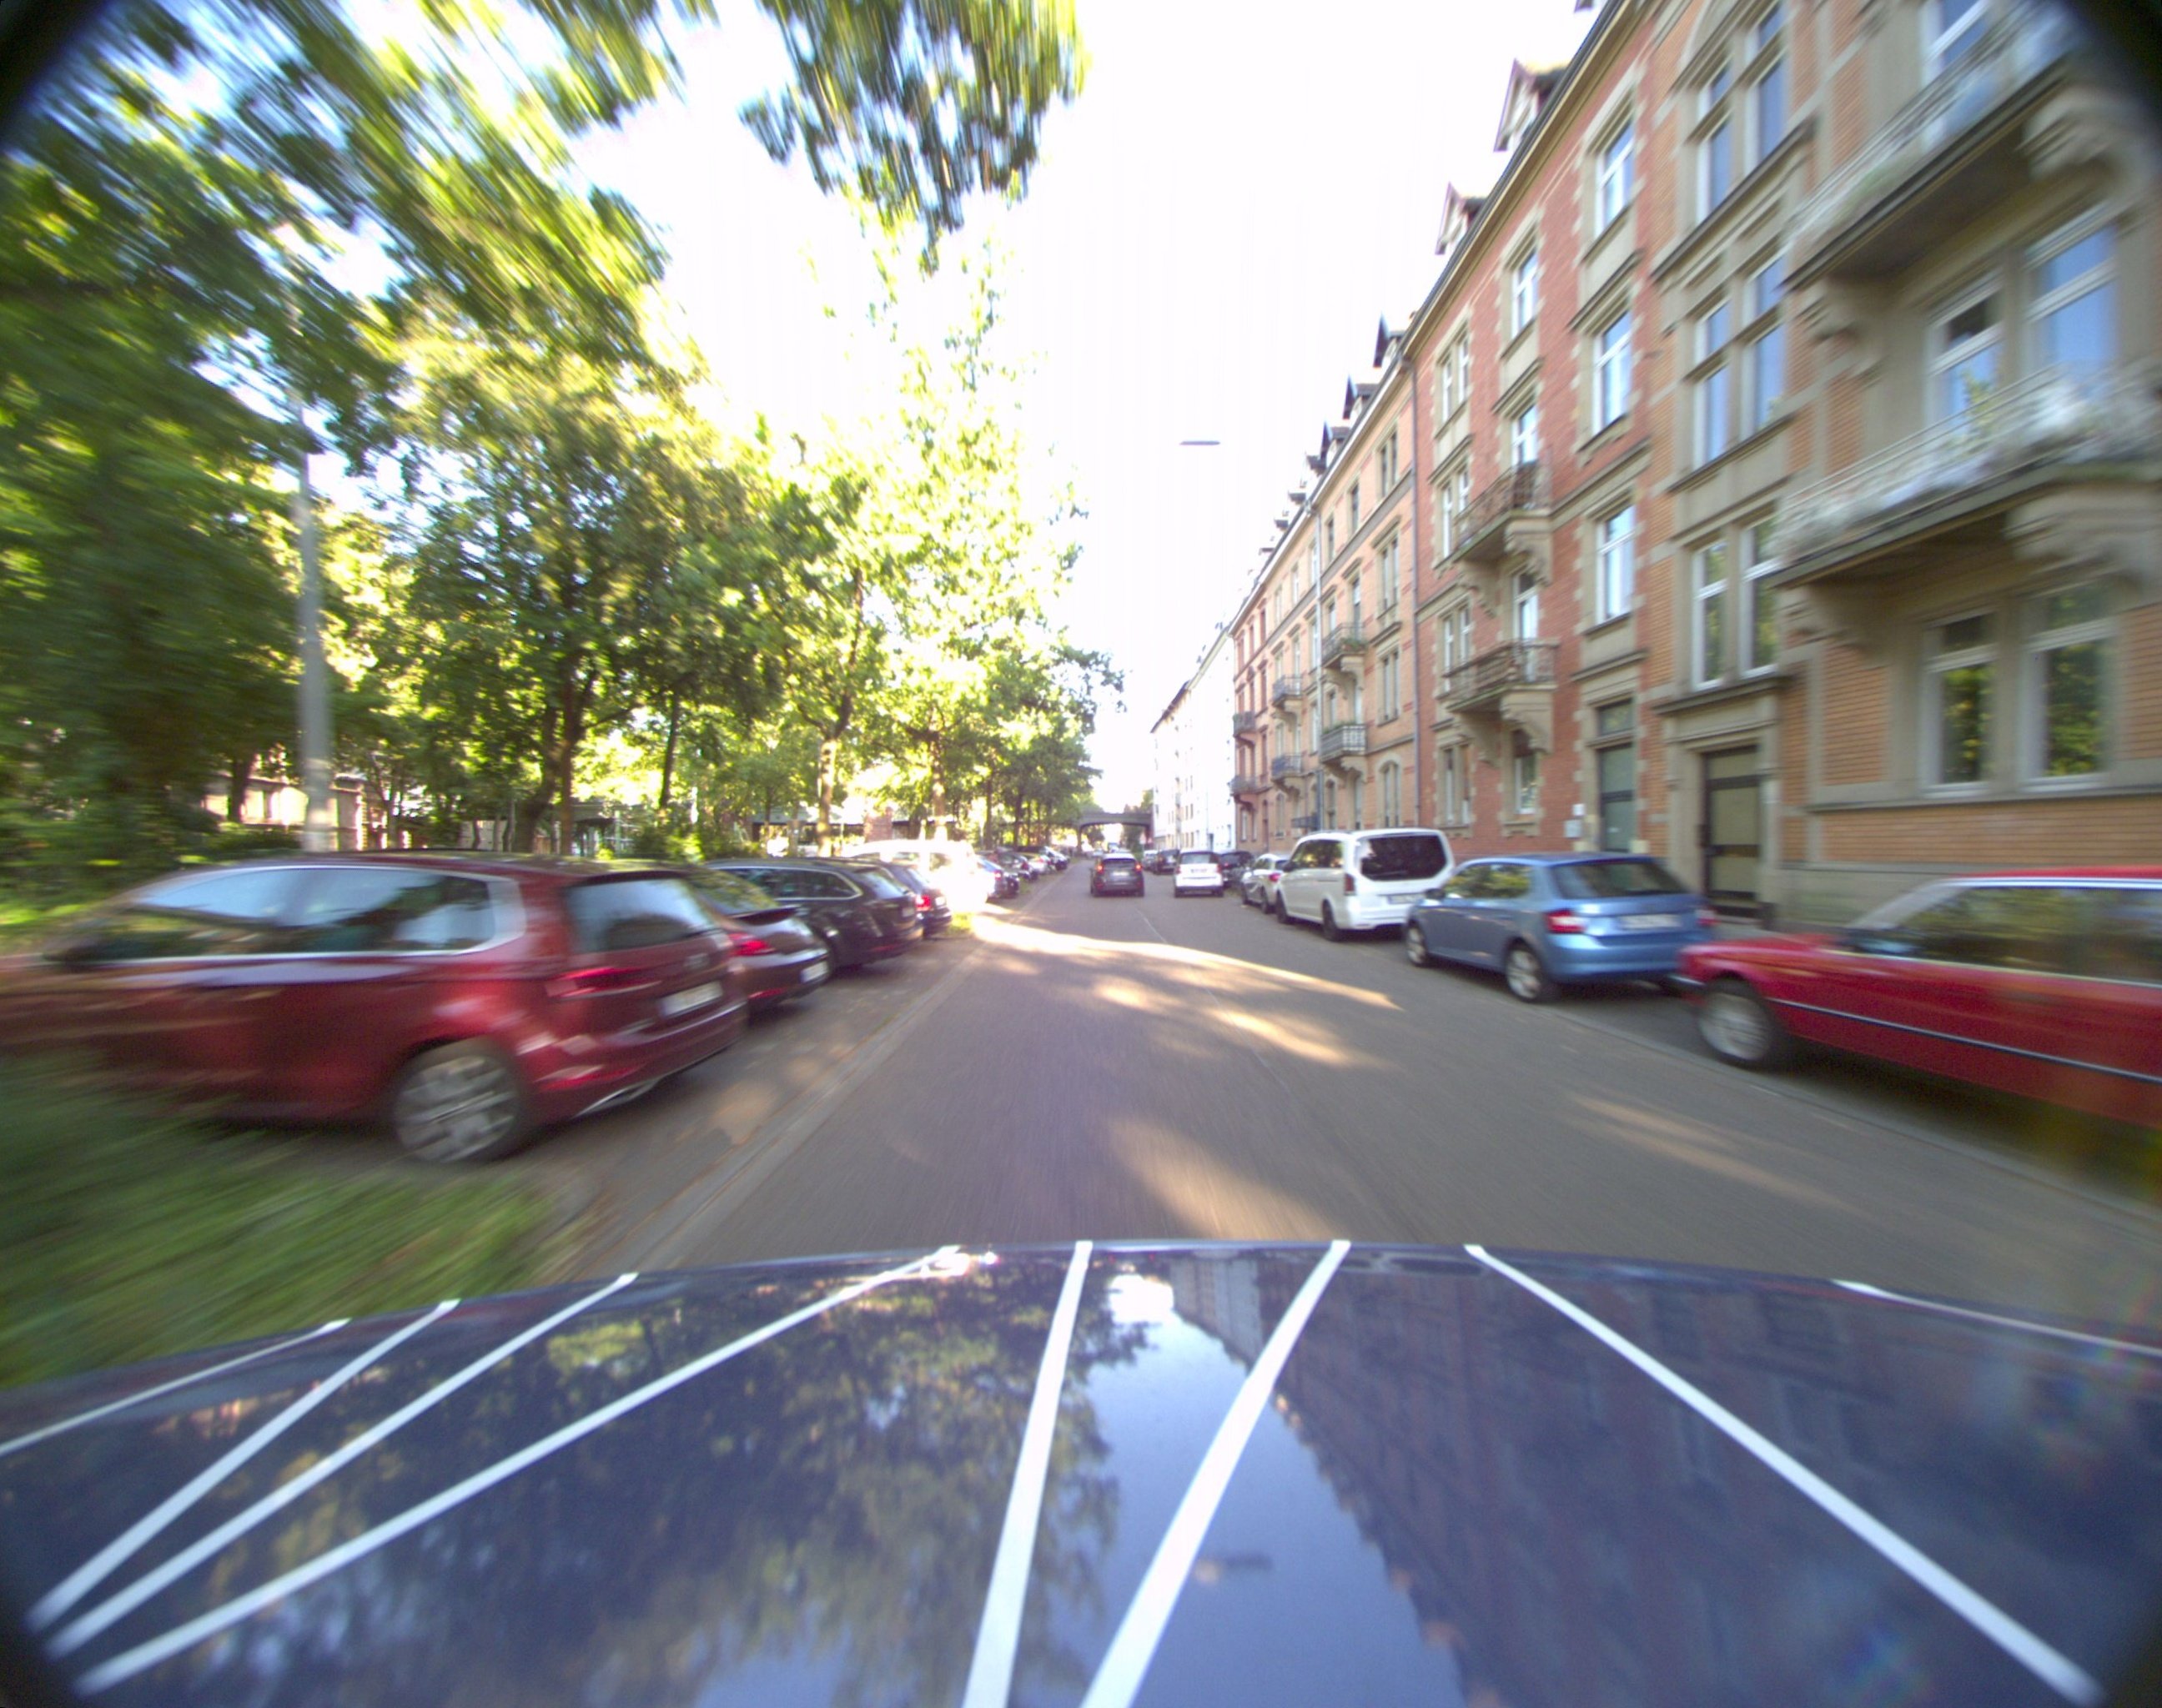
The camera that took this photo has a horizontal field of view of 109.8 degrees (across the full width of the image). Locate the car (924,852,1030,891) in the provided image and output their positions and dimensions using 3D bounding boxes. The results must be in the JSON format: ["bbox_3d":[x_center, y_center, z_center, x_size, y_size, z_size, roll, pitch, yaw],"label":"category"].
[{"bbox_3d":[-4.111,0.670,30.450,3.996,1.480,1.684,0,1,1],"label":"car"}]

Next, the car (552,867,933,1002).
[{"bbox_3d":[-4.030,0.929,9.509,3.996,1.480,1.684,0,1,1],"label":"car"}]

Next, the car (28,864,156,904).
[{"bbox_3d":[-35.447,1.027,27.228,3.990,1.271,1.751,1,1,22],"label":"car"}]

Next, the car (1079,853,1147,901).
[{"bbox_3d":[1.020,0.745,26.679,1.881,1.422,4.391,-3,1,-3],"label":"car"}]

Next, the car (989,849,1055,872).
[{"bbox_3d":[-3.791,0.417,49.257,4.130,1.480,1.684,0,1,1],"label":"car"}]

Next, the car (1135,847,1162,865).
[{"bbox_3d":[5.710,0.161,64.458,1.880,1.433,4.392,-3,1,1],"label":"car"}]

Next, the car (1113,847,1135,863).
[{"bbox_3d":[4.201,0.107,74.248,1.880,1.433,4.392,-3,1,1],"label":"car"}]

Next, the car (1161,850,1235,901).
[{"bbox_3d":[3.935,0.656,26.245,1.880,1.527,4.392,-3,1,1],"label":"car"}]

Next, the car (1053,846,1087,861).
[{"bbox_3d":[-1.400,-0.065,98.955,4.389,1.676,1.882,-3,1,1],"label":"car"}]

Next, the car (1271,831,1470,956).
[{"bbox_3d":[5.098,0.600,14.197,1.912,1.872,4.725,-3,1,1],"label":"car"}]

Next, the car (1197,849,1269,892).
[{"bbox_3d":[5.752,0.565,29.208,1.880,1.433,4.392,-3,1,1],"label":"car"}]

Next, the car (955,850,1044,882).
[{"bbox_3d":[-3.969,0.557,37.351,4.130,1.513,1.684,0,1,1],"label":"car"}]

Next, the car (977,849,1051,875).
[{"bbox_3d":[-3.886,0.479,44.608,4.130,1.480,1.684,0,1,1],"label":"car"}]

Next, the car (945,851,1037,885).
[{"bbox_3d":[-4.074,0.613,34.874,3.996,1.480,1.684,0,1,1],"label":"car"}]

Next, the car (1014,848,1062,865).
[{"bbox_3d":[-3.790,0.190,67.329,4.130,1.480,1.684,0,1,1],"label":"car"}]

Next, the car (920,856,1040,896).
[{"bbox_3d":[-3.517,0.762,26.946,3.996,1.331,1.684,0,1,1],"label":"car"}]

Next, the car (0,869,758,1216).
[{"bbox_3d":[-4.236,0.895,4.396,3.996,1.545,1.684,0,1,1],"label":"car"}]

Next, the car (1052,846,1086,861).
[{"bbox_3d":[-1.595,-0.084,101.224,4.389,1.676,1.882,-3,1,1],"label":"car"}]

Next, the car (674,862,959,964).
[{"bbox_3d":[-4.121,0.899,12.288,3.996,1.480,1.684,0,1,1],"label":"car"}]

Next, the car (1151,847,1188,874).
[{"bbox_3d":[5.605,0.390,48.669,1.880,1.560,4.392,-3,1,1],"label":"car"}]

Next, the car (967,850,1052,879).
[{"bbox_3d":[-3.692,0.536,39.635,4.263,1.480,1.684,0,1,1],"label":"car"}]

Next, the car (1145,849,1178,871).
[{"bbox_3d":[5.641,0.407,53.628,1.880,1.433,4.392,-3,1,1],"label":"car"}]

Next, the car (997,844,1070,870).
[{"bbox_3d":[-3.356,0.181,54.255,5.095,1.831,1.832,0,1,1],"label":"car"}]

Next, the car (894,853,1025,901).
[{"bbox_3d":[-3.908,0.731,24.902,3.996,1.480,1.684,0,1,1],"label":"car"}]

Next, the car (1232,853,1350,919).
[{"bbox_3d":[5.335,0.736,19.941,1.880,1.433,4.392,-3,1,1],"label":"car"}]

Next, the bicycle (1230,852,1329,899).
[{"bbox_3d":[6.487,0.690,24.976,3.043,1.476,0.817,0,1,2],"label":"bicycle"}]

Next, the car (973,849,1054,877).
[{"bbox_3d":[-3.690,0.480,41.939,4.263,1.480,1.684,0,1,1],"label":"car"}]

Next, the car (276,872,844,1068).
[{"bbox_3d":[-4.421,0.942,6.894,3.996,1.480,1.684,0,1,1],"label":"car"}]

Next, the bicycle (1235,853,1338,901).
[{"bbox_3d":[6.481,0.701,24.112,3.043,1.476,0.817,0,1,2],"label":"bicycle"}]

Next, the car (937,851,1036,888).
[{"bbox_3d":[-3.986,0.640,32.412,3.996,1.480,1.684,0,1,1],"label":"car"}]

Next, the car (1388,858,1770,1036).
[{"bbox_3d":[5.127,0.825,8.567,1.767,1.430,3.888,-3,1,1],"label":"car"}]

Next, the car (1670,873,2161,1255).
[{"bbox_3d":[5.223,0.885,3.507,1.767,1.375,4.290,-3,1,2],"label":"car"}]

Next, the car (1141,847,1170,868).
[{"bbox_3d":[5.708,0.234,58.641,1.880,1.433,4.392,-3,1,1],"label":"car"}]

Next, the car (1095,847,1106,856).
[{"bbox_3d":[3.259,-0.489,127.361,1.880,1.433,4.392,-3,1,1],"label":"car"}]

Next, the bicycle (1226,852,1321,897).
[{"bbox_3d":[6.521,0.677,25.861,3.043,1.476,0.817,0,1,2],"label":"bicycle"}]

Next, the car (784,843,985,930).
[{"bbox_3d":[-4.265,0.676,16.910,3.996,1.822,1.684,0,1,1],"label":"car"}]

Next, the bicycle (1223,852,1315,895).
[{"bbox_3d":[6.586,0.663,26.720,3.043,1.476,0.817,0,1,2],"label":"bicycle"}]

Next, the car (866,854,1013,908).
[{"bbox_3d":[-4.083,0.771,22.363,3.996,1.480,1.684,0,1,1],"label":"car"}]
